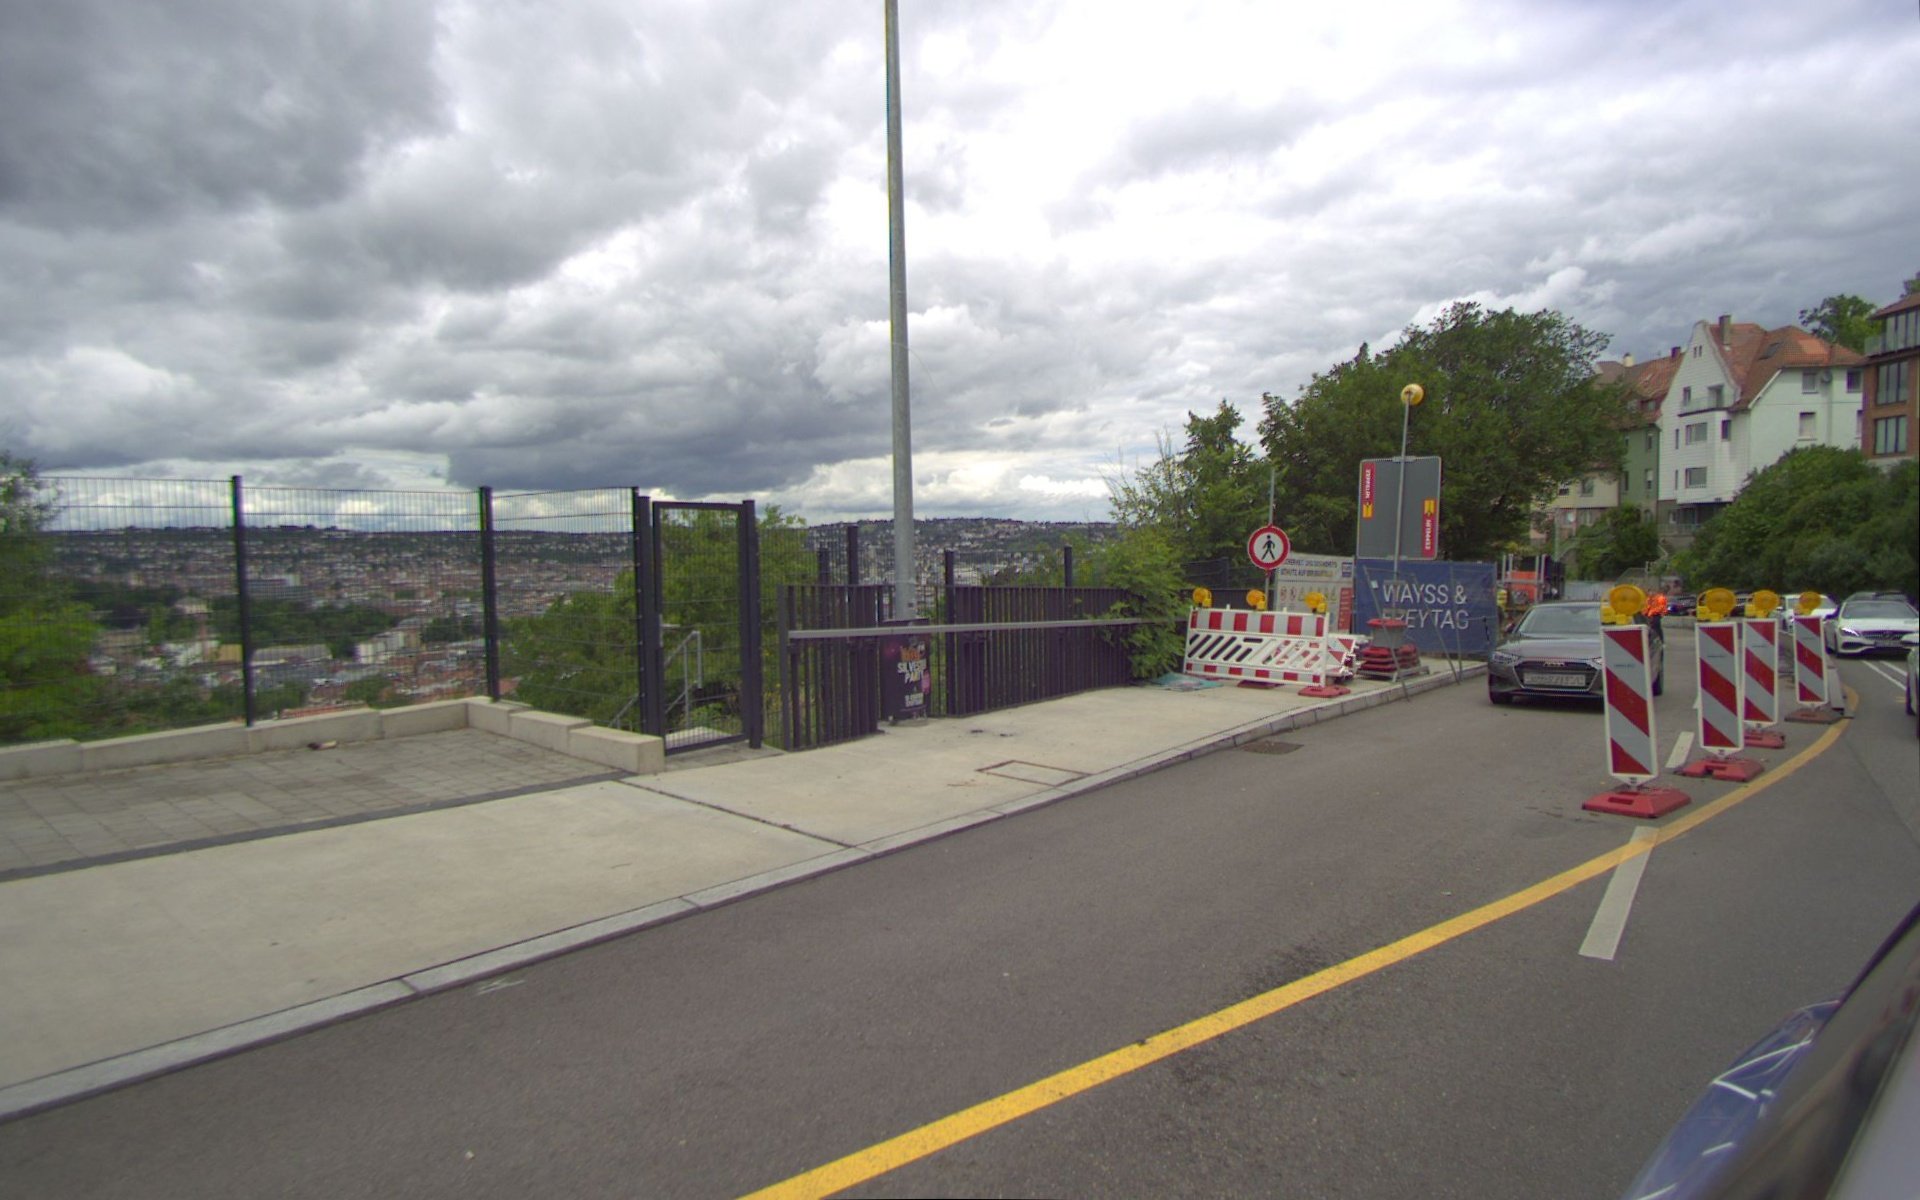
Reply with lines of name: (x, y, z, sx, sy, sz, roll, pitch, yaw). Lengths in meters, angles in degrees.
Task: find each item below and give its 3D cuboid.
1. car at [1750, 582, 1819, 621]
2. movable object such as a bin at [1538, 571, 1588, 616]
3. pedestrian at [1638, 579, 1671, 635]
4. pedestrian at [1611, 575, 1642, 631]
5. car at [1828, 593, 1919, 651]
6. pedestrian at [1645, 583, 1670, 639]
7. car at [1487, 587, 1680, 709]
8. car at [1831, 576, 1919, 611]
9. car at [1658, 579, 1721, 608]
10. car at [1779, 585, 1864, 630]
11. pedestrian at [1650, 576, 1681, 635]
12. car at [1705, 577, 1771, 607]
car: (35.540, 0.037, 43.726, 1.873, 1.598, 3.952, -1, 0, 33)
movable object such as a bin: (36.607, -0.369, 61.488, 1.840, 2.628, 3.419, -1, 0, 19)
pedestrian: (24.209, 0.247, 35.284, 0.607, 1.909, 0.719, 2, -2, -1)
pedestrian: (23.455, 0.105, 35.623, 0.722, 1.916, 0.615, -3, -2, 21)
car: (22.951, 0.500, 25.111, 1.788, 1.323, 4.047, -1, 0, 36)
pedestrian: (23.665, 0.354, 34.322, 0.522, 1.865, 0.789, 3, 1, 27)
car: (9.150, 0.574, 14.660, 1.836, 1.473, 4.563, 0, 0, 39)
car: (43.024, -0.286, 47.636, 1.803, 1.453, 3.688, -5, -2, 22)
car: (45.368, -0.388, 63.030, 1.744, 1.616, 3.774, -5, -1, 14)
car: (31.895, 0.256, 37.571, 1.873, 1.598, 3.952, -1, 0, 33)
pedestrian: (23.185, 0.165, 33.274, 0.634, 1.882, 0.827, 3, 1, 27)
car: (47.783, -0.483, 62.237, 1.744, 1.616, 3.774, -5, -1, 14)
